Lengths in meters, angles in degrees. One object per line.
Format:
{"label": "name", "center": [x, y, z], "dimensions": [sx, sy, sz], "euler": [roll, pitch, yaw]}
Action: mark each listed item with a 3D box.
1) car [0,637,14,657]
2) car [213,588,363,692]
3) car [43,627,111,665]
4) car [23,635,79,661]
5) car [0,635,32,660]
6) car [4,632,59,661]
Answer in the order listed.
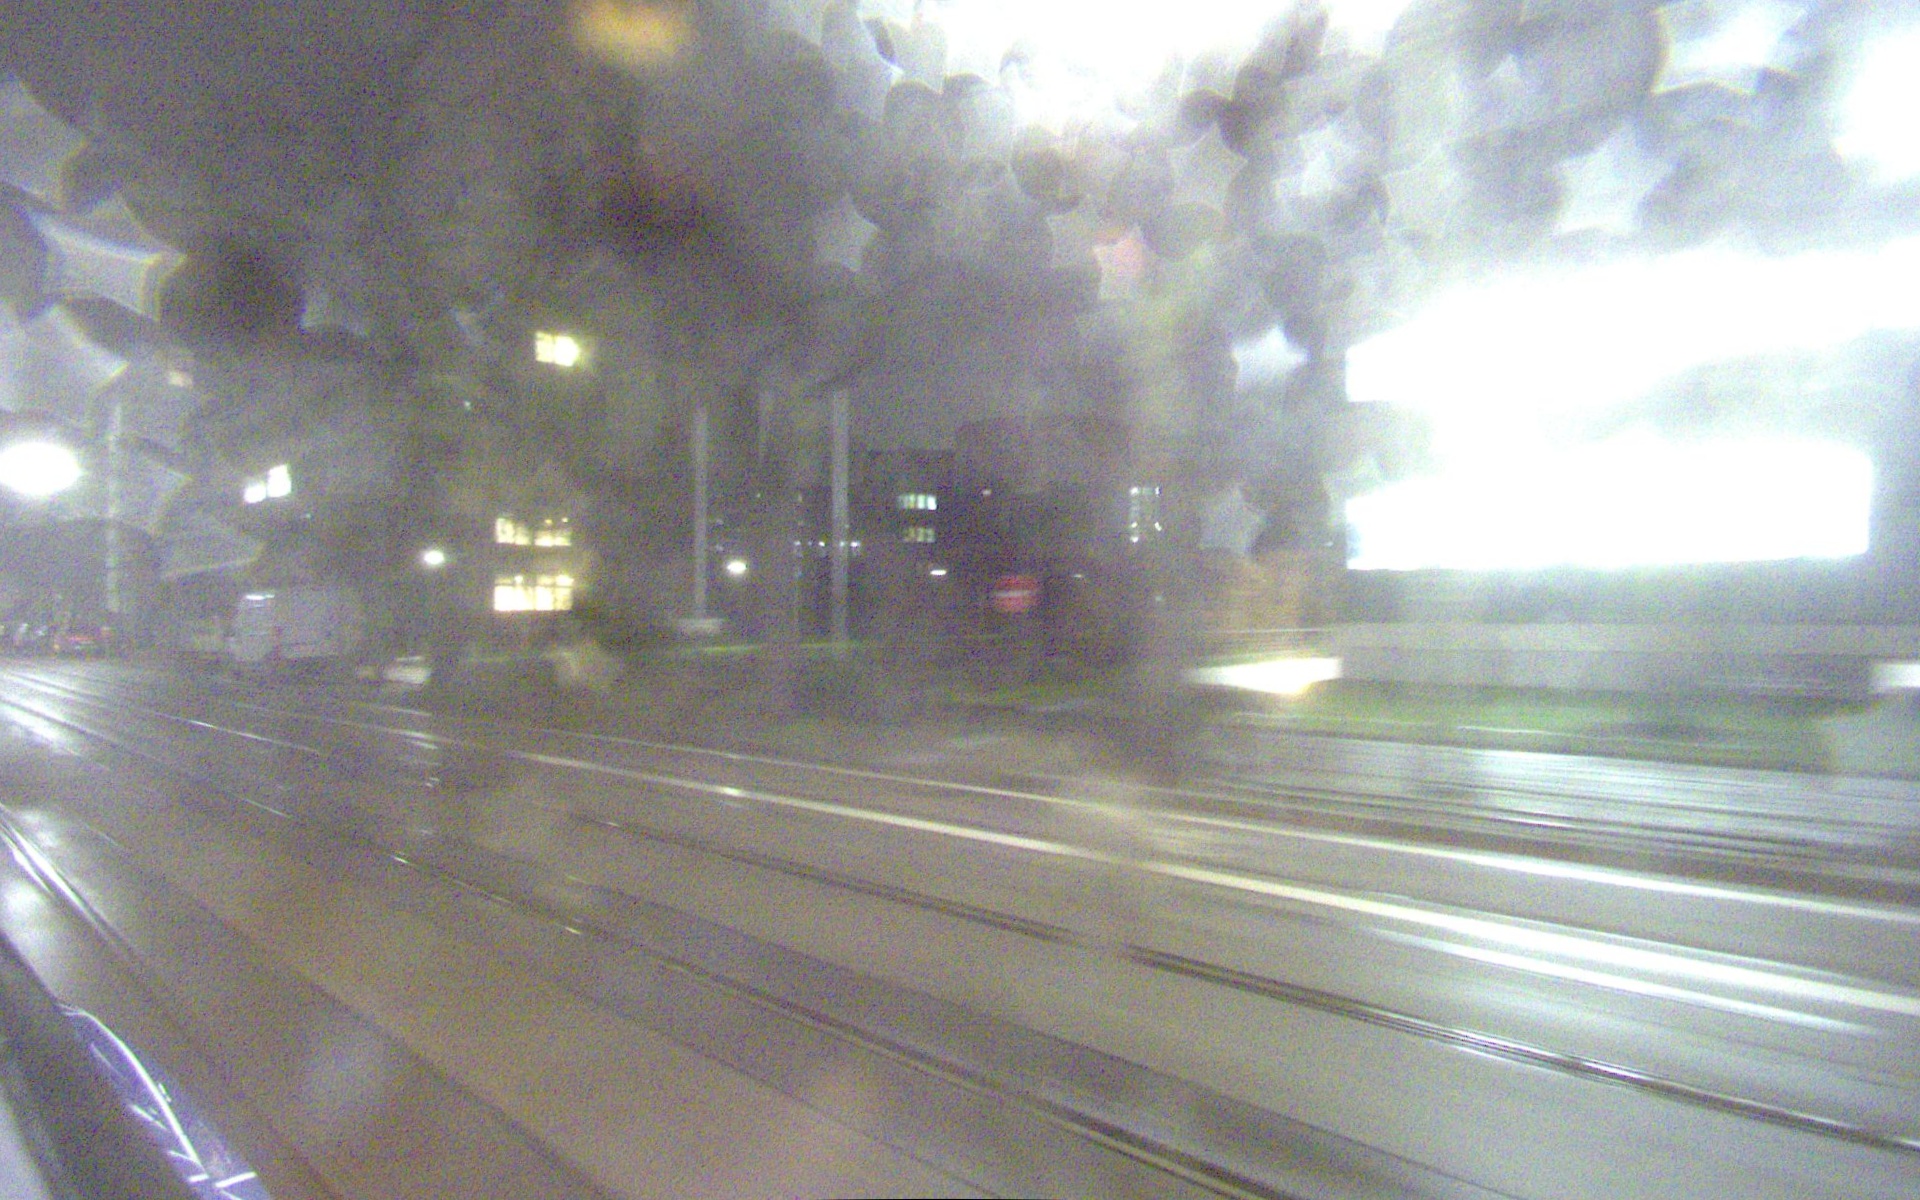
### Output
{"label": "car", "center": [-75.208, 3.626, 78.466], "dimensions": [4.951, 1.474, 1.870], "euler": [-1, -2, 37]}
{"label": "car", "center": [-18.978, 1.106, 28.427], "dimensions": [6.392, 2.611, 2.161], "euler": [-2, -2, 44]}
{"label": "car", "center": [-42.454, 2.176, 48.608], "dimensions": [4.600, 1.668, 1.948], "euler": [-1, 0, 43]}
{"label": "car", "center": [-50.476, 2.650, 56.200], "dimensions": [3.909, 1.432, 1.674], "euler": [-2, -3, 38]}
{"label": "car", "center": [-66.056, 3.290, 70.109], "dimensions": [4.394, 1.557, 1.862], "euler": [-1, 2, 39]}
{"label": "car", "center": [-56.052, 2.774, 61.061], "dimensions": [4.515, 1.643, 1.962], "euler": [-1, -1, 41]}
